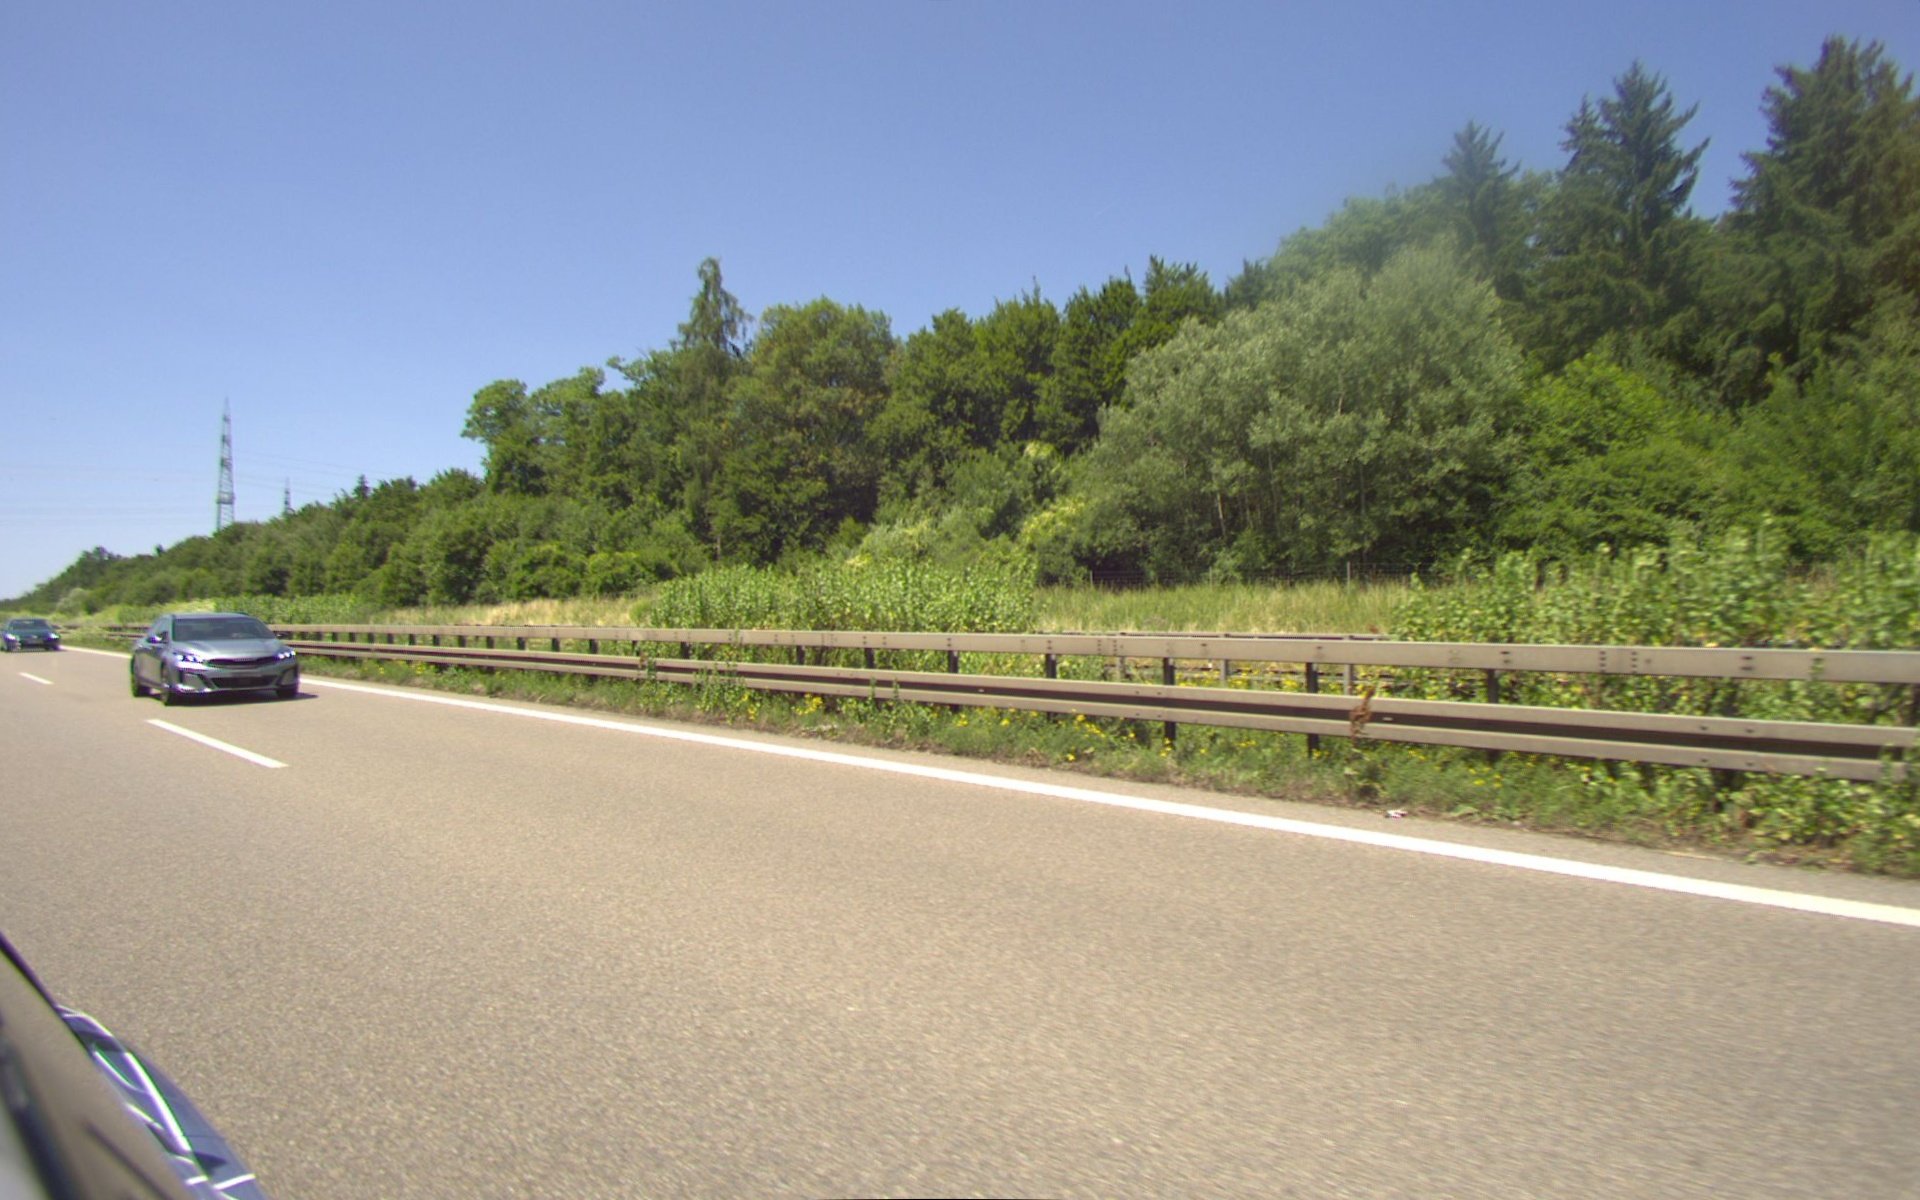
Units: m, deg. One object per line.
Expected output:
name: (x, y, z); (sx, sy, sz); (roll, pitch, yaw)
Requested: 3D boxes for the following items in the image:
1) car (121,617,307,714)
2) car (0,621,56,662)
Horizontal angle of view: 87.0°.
car: (-12.780, 1.037, 17.255); (3.998, 1.419, 1.745); (-1, 0, 41)
car: (-40.035, 1.743, 43.185); (3.941, 1.632, 1.719); (-1, 0, 41)
